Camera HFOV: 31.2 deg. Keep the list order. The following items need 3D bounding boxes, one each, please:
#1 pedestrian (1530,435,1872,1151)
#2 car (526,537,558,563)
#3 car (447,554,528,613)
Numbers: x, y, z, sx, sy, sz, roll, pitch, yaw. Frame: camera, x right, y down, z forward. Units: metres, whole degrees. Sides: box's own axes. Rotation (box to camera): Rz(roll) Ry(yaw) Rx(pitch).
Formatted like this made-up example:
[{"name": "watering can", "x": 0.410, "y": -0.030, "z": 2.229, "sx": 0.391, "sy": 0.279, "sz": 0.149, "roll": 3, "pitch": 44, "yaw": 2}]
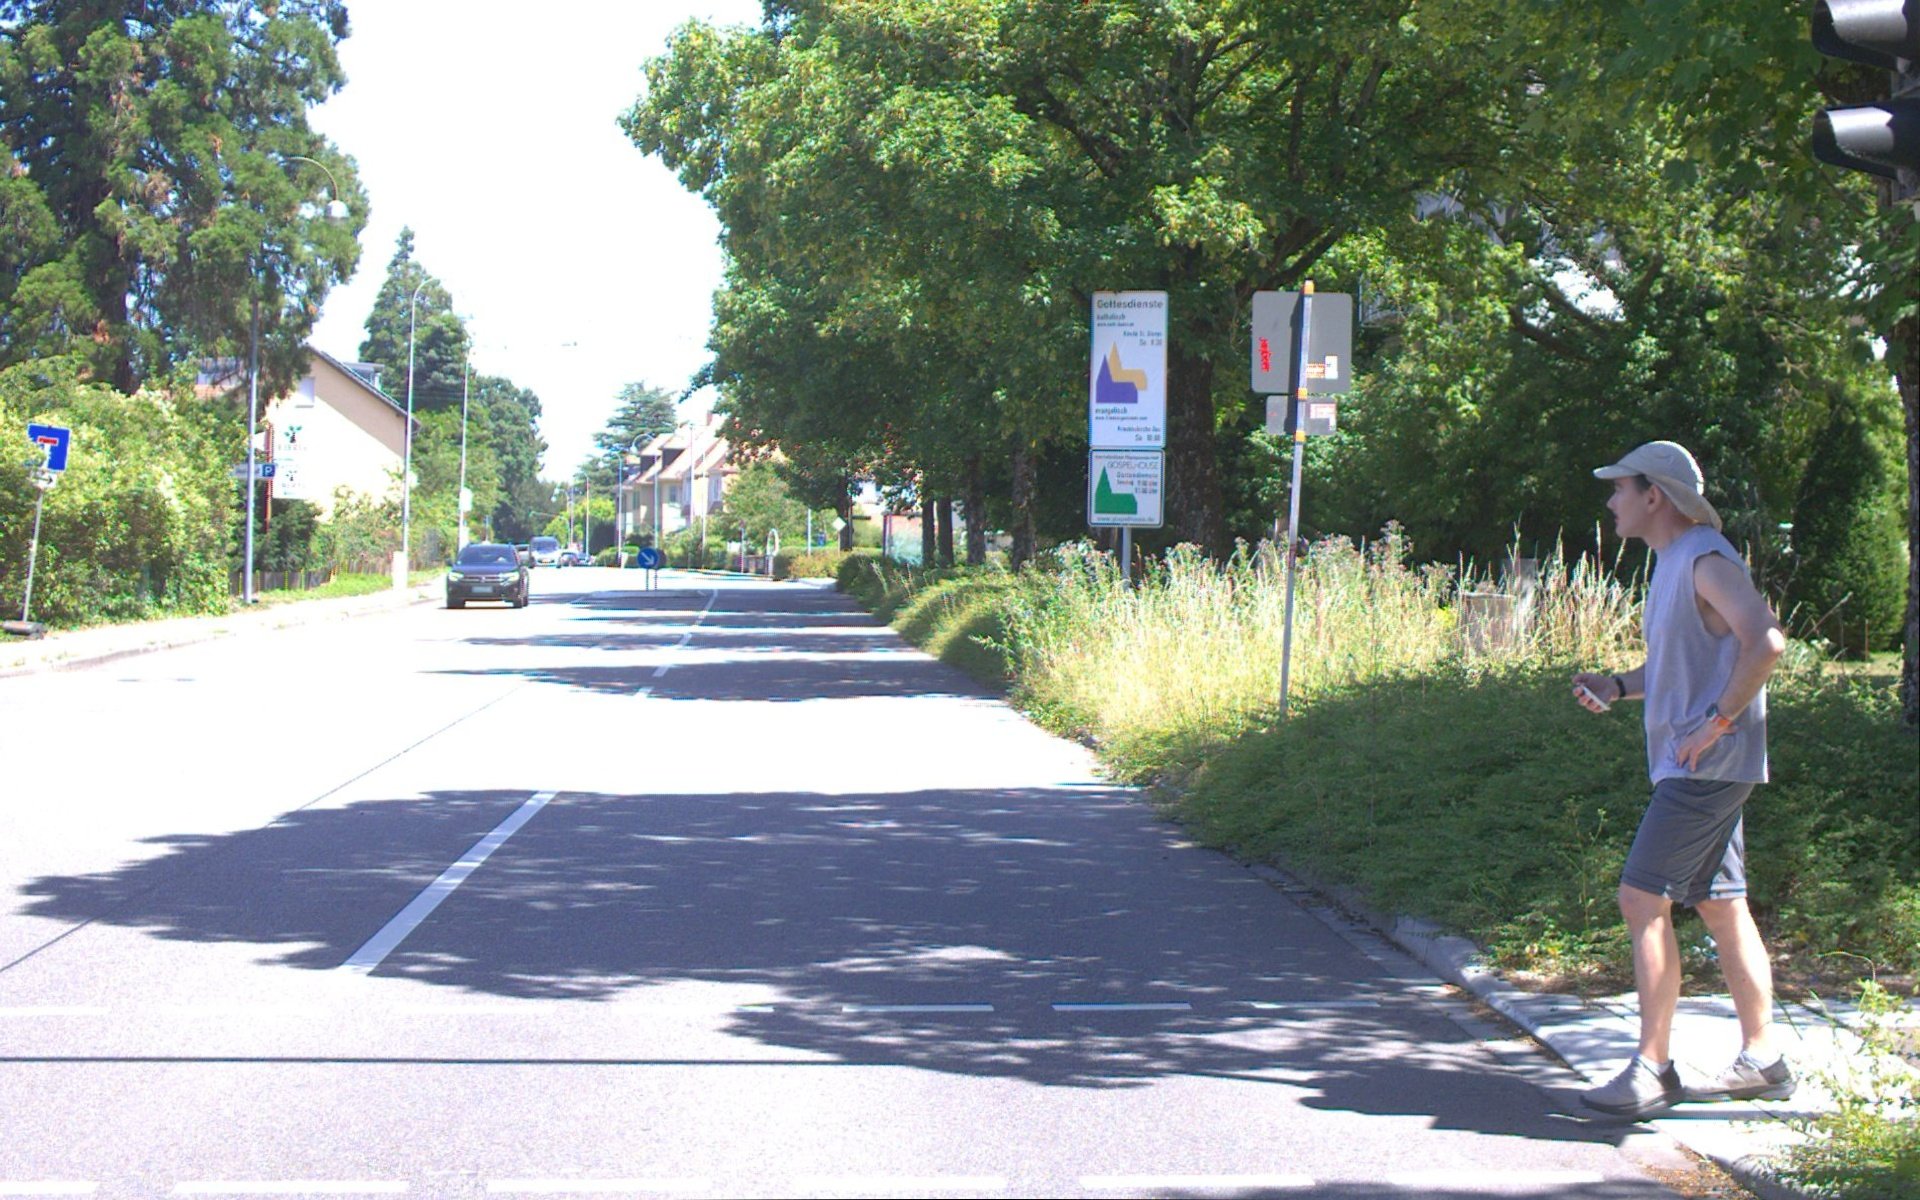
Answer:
[{"name": "pedestrian", "x": 1.890, "y": 0.468, "z": 8.792, "sx": 0.560, "sy": 1.745, "sz": 0.615, "roll": 1, "pitch": 0, "yaw": -36}, {"name": "car", "x": -23.350, "y": -2.781, "z": 192.113, "sx": 1.555, "sy": 1.443, "sz": 3.790, "roll": 1, "pitch": 1, "yaw": -5}, {"name": "car", "x": -10.963, "y": -0.384, "z": 79.919, "sx": 1.431, "sy": 1.318, "sz": 3.355, "roll": 1, "pitch": 1, "yaw": -1}]
